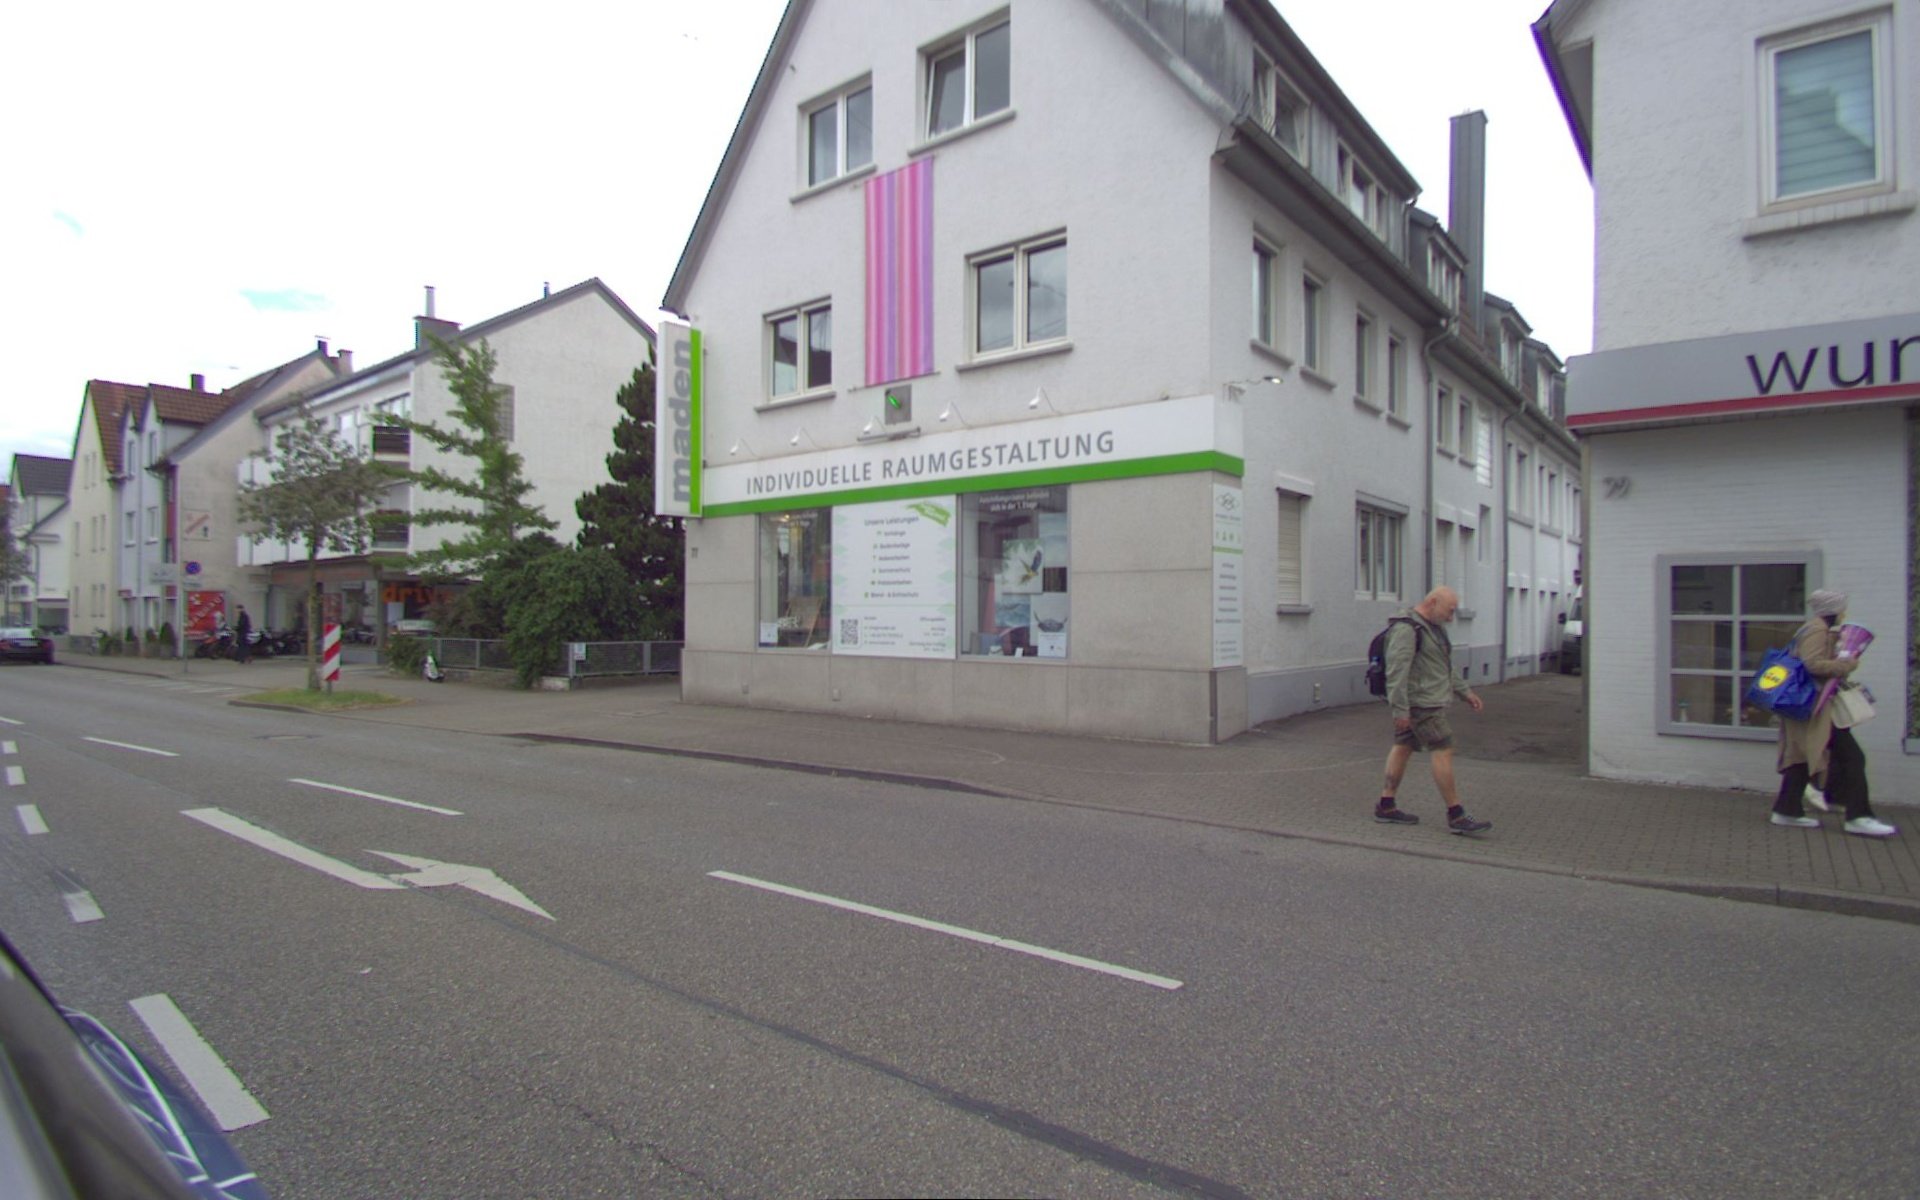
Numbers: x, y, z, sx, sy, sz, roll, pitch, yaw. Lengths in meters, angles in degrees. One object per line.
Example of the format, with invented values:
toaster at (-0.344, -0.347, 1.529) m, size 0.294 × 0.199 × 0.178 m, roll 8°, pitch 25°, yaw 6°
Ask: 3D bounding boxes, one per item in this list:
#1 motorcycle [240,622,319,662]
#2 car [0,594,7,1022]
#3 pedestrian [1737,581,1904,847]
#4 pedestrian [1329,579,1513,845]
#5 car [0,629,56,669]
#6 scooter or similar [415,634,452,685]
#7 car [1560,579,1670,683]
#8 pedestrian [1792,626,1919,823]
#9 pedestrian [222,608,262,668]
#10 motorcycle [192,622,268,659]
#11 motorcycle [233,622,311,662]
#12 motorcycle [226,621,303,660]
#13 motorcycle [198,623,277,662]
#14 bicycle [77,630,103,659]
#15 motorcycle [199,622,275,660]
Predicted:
motorcycle at (-24.129, 1.466, 35.911) m, size 0.612 × 1.275 × 2.204 m, roll -1°, pitch 1°, yaw 38°
car at (-5.871, 0.784, 4.422) m, size 4.730 × 1.547 × 1.832 m, roll -1°, pitch -1°, yaw 38°
pedestrian at (5.745, 0.706, 6.786) m, size 0.792 × 1.629 × 0.744 m, roll -1°, pitch 2°, yaw 40°
pedestrian at (3.331, 0.745, 7.319) m, size 1.019 × 1.756 × 0.744 m, roll -1°, pitch 1°, yaw 40°
car at (-36.252, 1.834, 38.730) m, size 4.337 × 1.428 × 1.770 m, roll -1°, pitch -2°, yaw 39°
scooter or similar at (-11.997, 1.337, 23.035) m, size 1.179 × 1.120 × 0.336 m, roll -1°, pitch -1°, yaw 41°
car at (18.162, 0.747, 27.907) m, size 1.957 × 2.527 × 5.918 m, roll 2°, pitch 1°, yaw 38°
pedestrian at (6.347, 0.842, 7.187) m, size 0.654 × 1.289 × 0.593 m, roll -1°, pitch 0°, yaw 40°
pedestrian at (-23.267, 1.218, 32.796) m, size 1.019 × 1.863 × 0.744 m, roll -1°, pitch 2°, yaw 40°
motorcycle at (-27.461, 1.511, 38.122) m, size 0.612 × 1.275 × 2.204 m, roll -1°, pitch 1°, yaw 38°
motorcycle at (-24.758, 1.483, 36.446) m, size 0.612 × 1.275 × 2.204 m, roll -1°, pitch 1°, yaw 38°
motorcycle at (-25.380, 1.475, 36.967) m, size 0.612 × 1.275 × 2.204 m, roll -1°, pitch 1°, yaw 38°
motorcycle at (-26.422, 1.530, 37.031) m, size 0.698 × 1.275 × 2.204 m, roll -1°, pitch 1°, yaw 38°
bicycle at (-37.662, 1.901, 43.807) m, size 2.022 × 1.205 × 0.509 m, roll -1°, pitch -1°, yaw 39°
motorcycle at (-26.891, 1.502, 37.671) m, size 0.612 × 1.275 × 2.204 m, roll -1°, pitch 1°, yaw 38°
